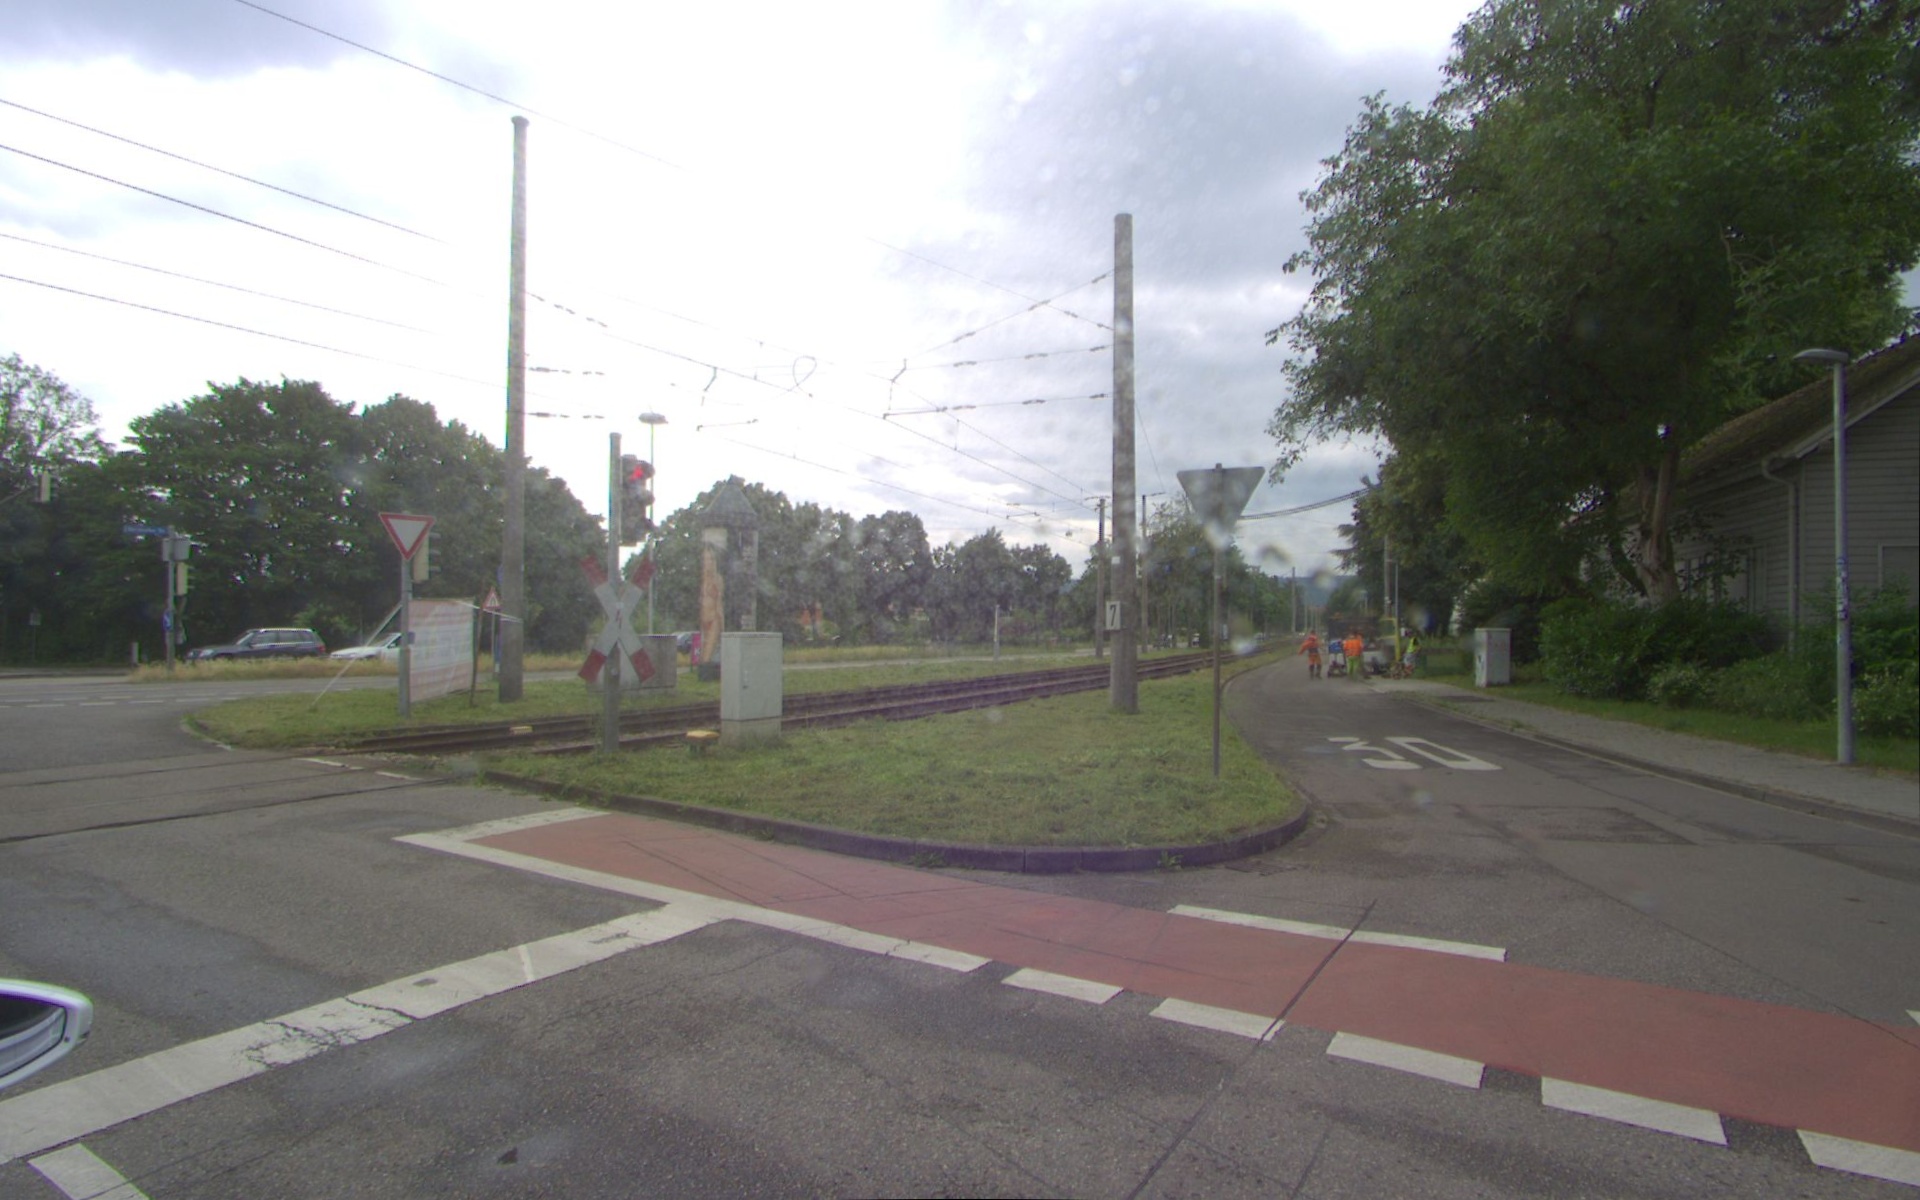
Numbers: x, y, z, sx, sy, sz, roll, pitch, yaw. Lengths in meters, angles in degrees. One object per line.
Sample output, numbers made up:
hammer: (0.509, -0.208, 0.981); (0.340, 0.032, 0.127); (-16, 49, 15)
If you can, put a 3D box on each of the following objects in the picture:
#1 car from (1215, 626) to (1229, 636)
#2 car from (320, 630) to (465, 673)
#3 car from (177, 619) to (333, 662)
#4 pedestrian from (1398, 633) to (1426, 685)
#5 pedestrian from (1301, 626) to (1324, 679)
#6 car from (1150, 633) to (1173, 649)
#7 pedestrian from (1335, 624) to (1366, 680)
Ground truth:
car: (47.234, 5.614, 180.196); (1.966, 1.827, 3.992); (-1, -2, 22)
car: (-19.661, 1.768, 34.859); (1.624, 1.374, 4.129); (0, -2, 33)
car: (-26.528, 1.525, 37.830); (1.820, 1.523, 4.456); (0, -2, 33)
pedestrian: (16.525, 2.158, 36.606); (0.598, 1.864, 0.712); (1, -1, -13)
pedestrian: (12.667, 1.875, 36.005); (0.757, 1.892, 0.604); (0, -1, 17)
car: (23.190, 4.702, 115.239); (1.966, 1.743, 3.992); (-1, -2, 21)
pedestrian: (13.352, 1.760, 34.228); (0.862, 1.878, 0.676); (1, -1, 34)
